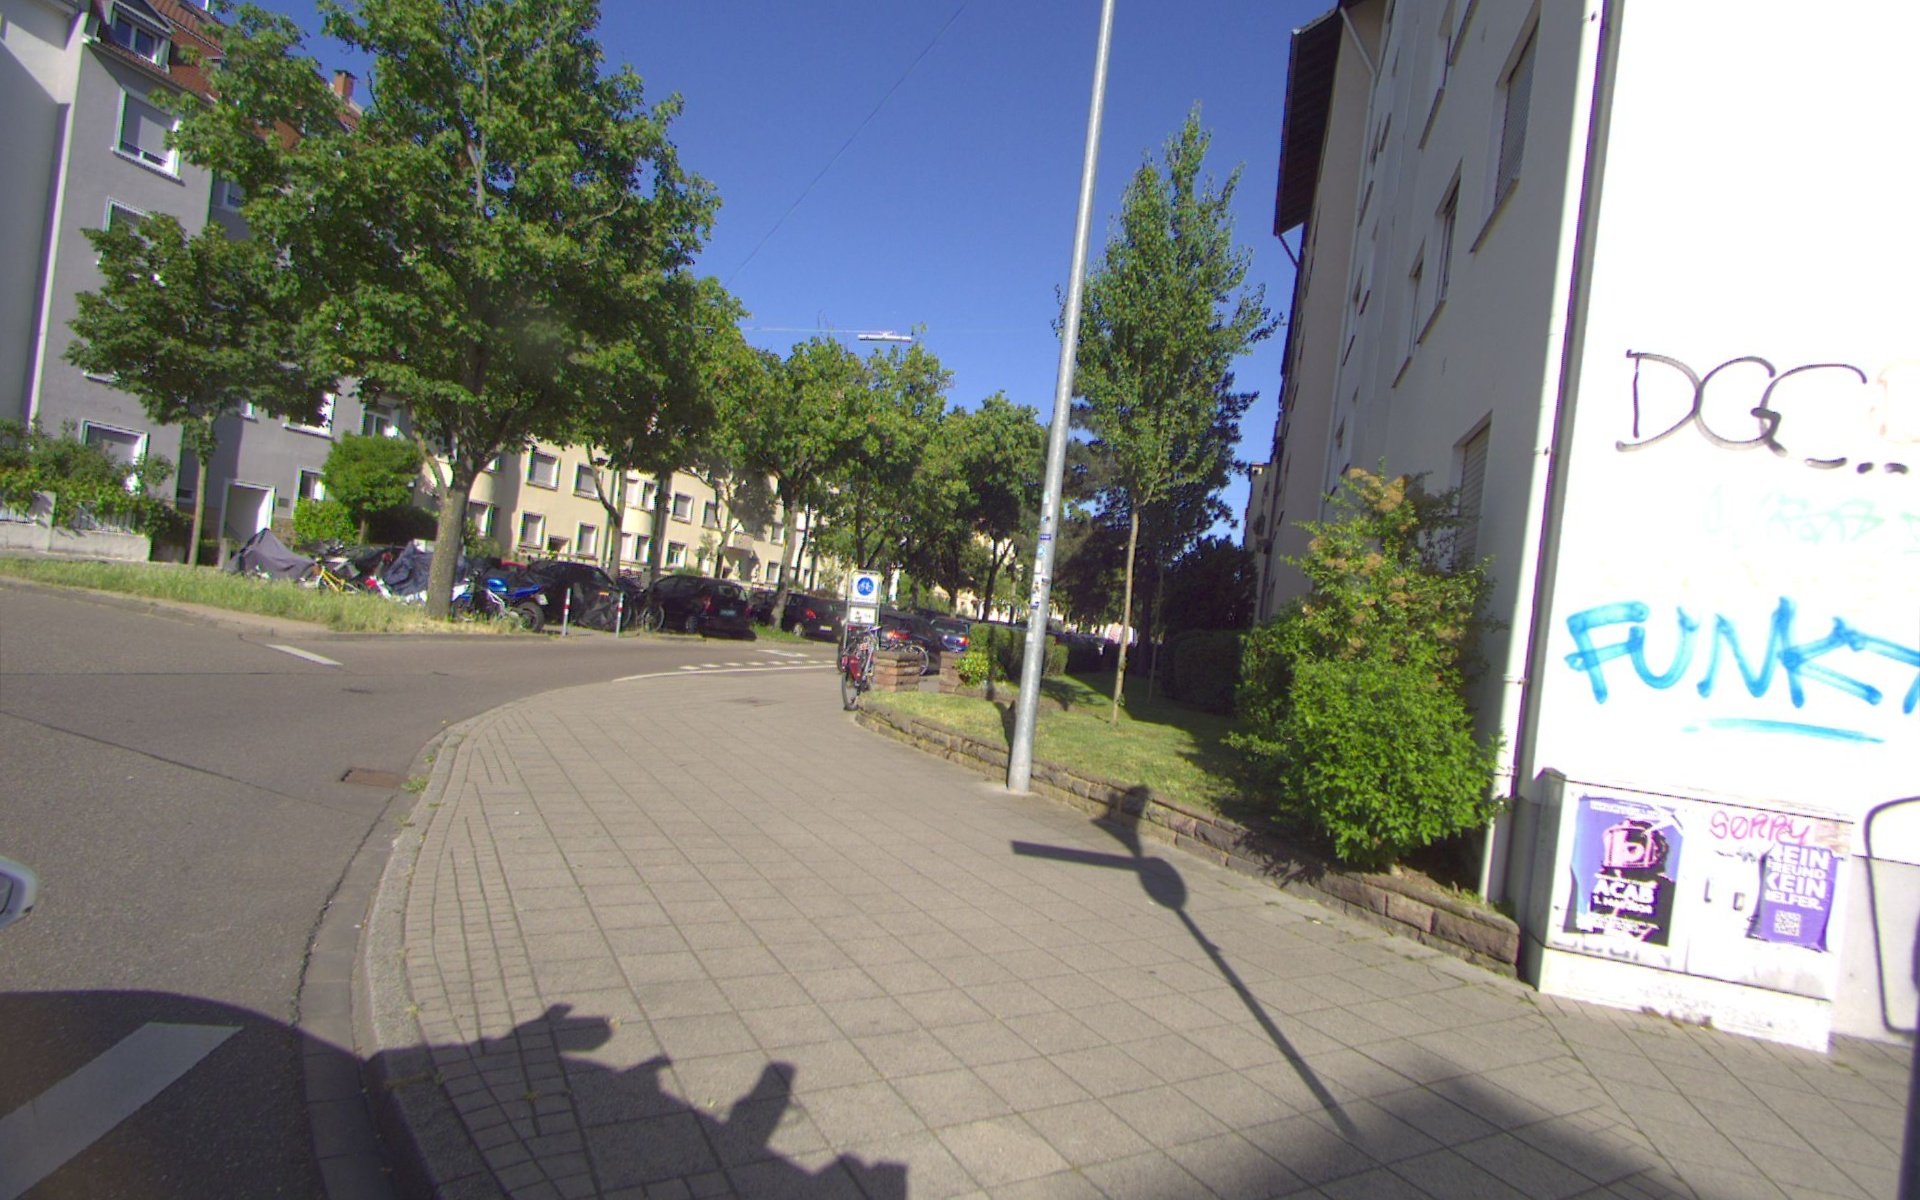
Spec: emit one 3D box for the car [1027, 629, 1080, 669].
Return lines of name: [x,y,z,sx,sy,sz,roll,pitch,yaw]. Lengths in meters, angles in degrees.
car: [4.323,2.244,45.994,1.751,1.503,4.003,8,0,13]

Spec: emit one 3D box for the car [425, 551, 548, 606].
car: [-16.468,-0.689,35.181,1.720,1.462,3.857,8,-1,13]

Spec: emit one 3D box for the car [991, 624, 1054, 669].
car: [2.594,1.869,40.896,1.751,1.503,4.003,8,0,13]

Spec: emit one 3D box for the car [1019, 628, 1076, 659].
car: [6.273,3.129,72.330,1.869,1.744,3.963,7,-1,-34]

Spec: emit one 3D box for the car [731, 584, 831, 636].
car: [-7.373,0.394,41.268,3.944,1.610,1.878,6,-1,41]

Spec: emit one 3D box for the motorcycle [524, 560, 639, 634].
motorcycle: [-8.607,-0.060,22.893,2.087,1.409,1.063,7,0,14]

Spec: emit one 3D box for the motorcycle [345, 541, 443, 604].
motorcycle: [-13.594,-0.647,24.186,1.858,1.252,0.890,7,0,16]

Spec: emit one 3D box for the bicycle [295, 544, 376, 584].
bicycle: [-20.501,-1.159,33.077,0.670,1.072,2.257,7,-1,18]

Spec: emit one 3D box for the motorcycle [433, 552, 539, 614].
motorcycle: [-12.199,-0.429,25.909,2.199,1.283,1.052,7,0,16]

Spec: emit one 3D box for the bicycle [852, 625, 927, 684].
bicycle: [-1.455,1.117,20.648,1.422,1.070,0.331,5,0,14]

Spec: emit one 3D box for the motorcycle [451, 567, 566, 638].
motorcycle: [-8.655,0.056,19.296,1.810,1.086,0.814,8,0,16]

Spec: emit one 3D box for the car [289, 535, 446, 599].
car: [-17.707,-0.934,30.276,1.720,1.462,3.959,5,-1,13]

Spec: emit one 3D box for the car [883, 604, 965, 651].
car: [-1.743,1.260,47.513,1.869,1.744,3.963,7,-1,-34]

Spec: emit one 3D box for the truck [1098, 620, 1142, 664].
truck: [11.550,2.996,72.303,2.365,2.708,5.910,8,0,13]

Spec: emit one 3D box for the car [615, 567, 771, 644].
car: [-7.524,0.149,28.292,3.936,1.616,1.996,7,-1,34]

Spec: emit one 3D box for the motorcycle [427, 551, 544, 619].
motorcycle: [-11.053,-0.350,23.465,2.199,1.283,1.052,7,0,16]

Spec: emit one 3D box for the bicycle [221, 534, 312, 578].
bicycle: [-21.091,-1.325,30.672,0.670,1.072,2.257,7,-1,18]

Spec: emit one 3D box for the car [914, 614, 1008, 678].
car: [0.105,1.328,29.489,1.751,1.503,4.003,8,0,13]

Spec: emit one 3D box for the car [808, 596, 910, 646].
car: [-4.173,0.846,41.244,3.940,1.567,1.775,7,0,38]

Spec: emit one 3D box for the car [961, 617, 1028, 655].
car: [2.045,2.141,60.559,1.869,1.744,3.963,7,-1,-34]

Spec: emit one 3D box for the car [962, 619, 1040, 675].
car: [1.501,1.627,35.048,1.751,1.523,4.003,12,0,13]

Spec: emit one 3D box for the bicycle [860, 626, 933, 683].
bicycle: [-1.336,1.136,21.106,1.422,1.070,0.331,5,0,14]

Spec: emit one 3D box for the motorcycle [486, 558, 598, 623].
motorcycle: [-10.143,-0.231,24.441,2.199,1.283,1.052,7,0,16]

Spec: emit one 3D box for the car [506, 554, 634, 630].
car: [-10.955,-0.250,28.165,3.826,1.660,1.794,7,-1,44]

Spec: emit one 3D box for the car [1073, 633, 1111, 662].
car: [8.167,2.929,61.960,1.751,1.503,4.003,8,0,13]

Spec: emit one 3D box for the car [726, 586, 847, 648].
car: [-6.054,0.584,34.923,3.942,1.616,1.872,6,-1,39]

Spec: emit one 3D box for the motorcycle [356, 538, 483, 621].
motorcycle: [-10.626,-0.392,19.802,2.015,1.344,0.863,7,0,12]

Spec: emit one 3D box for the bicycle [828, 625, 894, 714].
bicycle: [-1.299,0.908,13.454,0.377,1.091,1.626,5,-1,10]

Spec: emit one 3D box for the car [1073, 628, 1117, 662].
car: [7.132,2.358,52.678,1.751,1.503,4.003,8,0,13]

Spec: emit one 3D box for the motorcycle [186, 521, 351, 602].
motorcycle: [-14.419,-0.792,21.008,2.730,1.283,1.128,7,0,10]

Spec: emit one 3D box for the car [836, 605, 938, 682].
car: [-1.649,0.992,24.122,1.798,1.428,4.001,8,0,3]
